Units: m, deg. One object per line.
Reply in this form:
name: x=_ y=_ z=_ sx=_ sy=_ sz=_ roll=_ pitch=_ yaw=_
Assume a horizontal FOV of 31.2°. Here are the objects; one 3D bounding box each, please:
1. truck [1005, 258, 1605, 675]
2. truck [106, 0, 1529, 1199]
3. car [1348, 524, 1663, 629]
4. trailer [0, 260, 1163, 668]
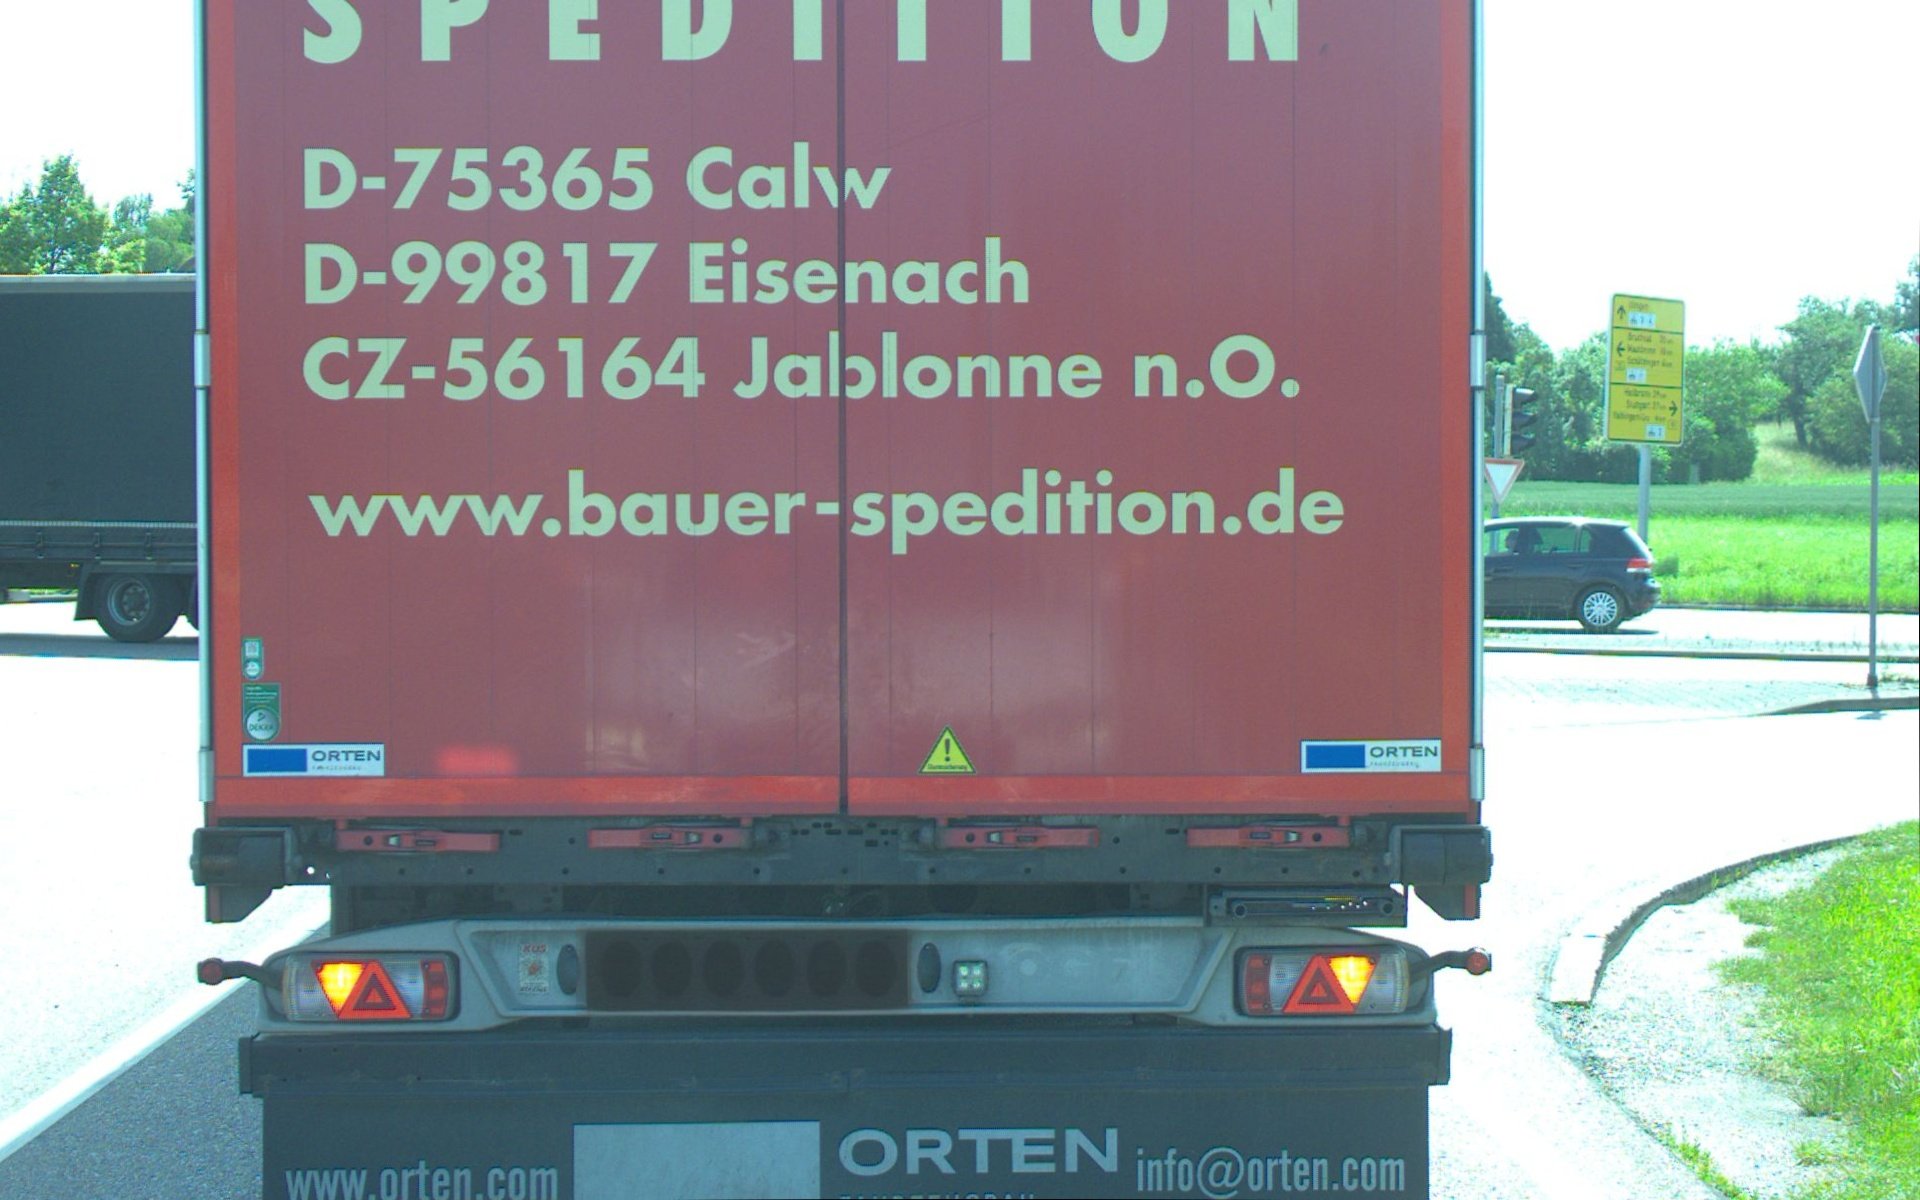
truck: x=3.607 y=-1.393 z=35.269 sx=5.828 sy=4.047 sz=2.797 roll=1 pitch=2 yaw=11
truck: x=-0.403 y=-0.820 z=14.945 sx=2.734 sy=3.911 sz=16.627 roll=0 pitch=1 yaw=-1
car: x=7.171 y=-0.312 z=45.123 sx=3.989 sy=1.306 sz=1.765 roll=1 pitch=0 yaw=11
trailer: x=-4.819 y=-1.542 z=37.264 sx=13.694 sy=4.047 sz=2.796 roll=1 pitch=2 yaw=15
